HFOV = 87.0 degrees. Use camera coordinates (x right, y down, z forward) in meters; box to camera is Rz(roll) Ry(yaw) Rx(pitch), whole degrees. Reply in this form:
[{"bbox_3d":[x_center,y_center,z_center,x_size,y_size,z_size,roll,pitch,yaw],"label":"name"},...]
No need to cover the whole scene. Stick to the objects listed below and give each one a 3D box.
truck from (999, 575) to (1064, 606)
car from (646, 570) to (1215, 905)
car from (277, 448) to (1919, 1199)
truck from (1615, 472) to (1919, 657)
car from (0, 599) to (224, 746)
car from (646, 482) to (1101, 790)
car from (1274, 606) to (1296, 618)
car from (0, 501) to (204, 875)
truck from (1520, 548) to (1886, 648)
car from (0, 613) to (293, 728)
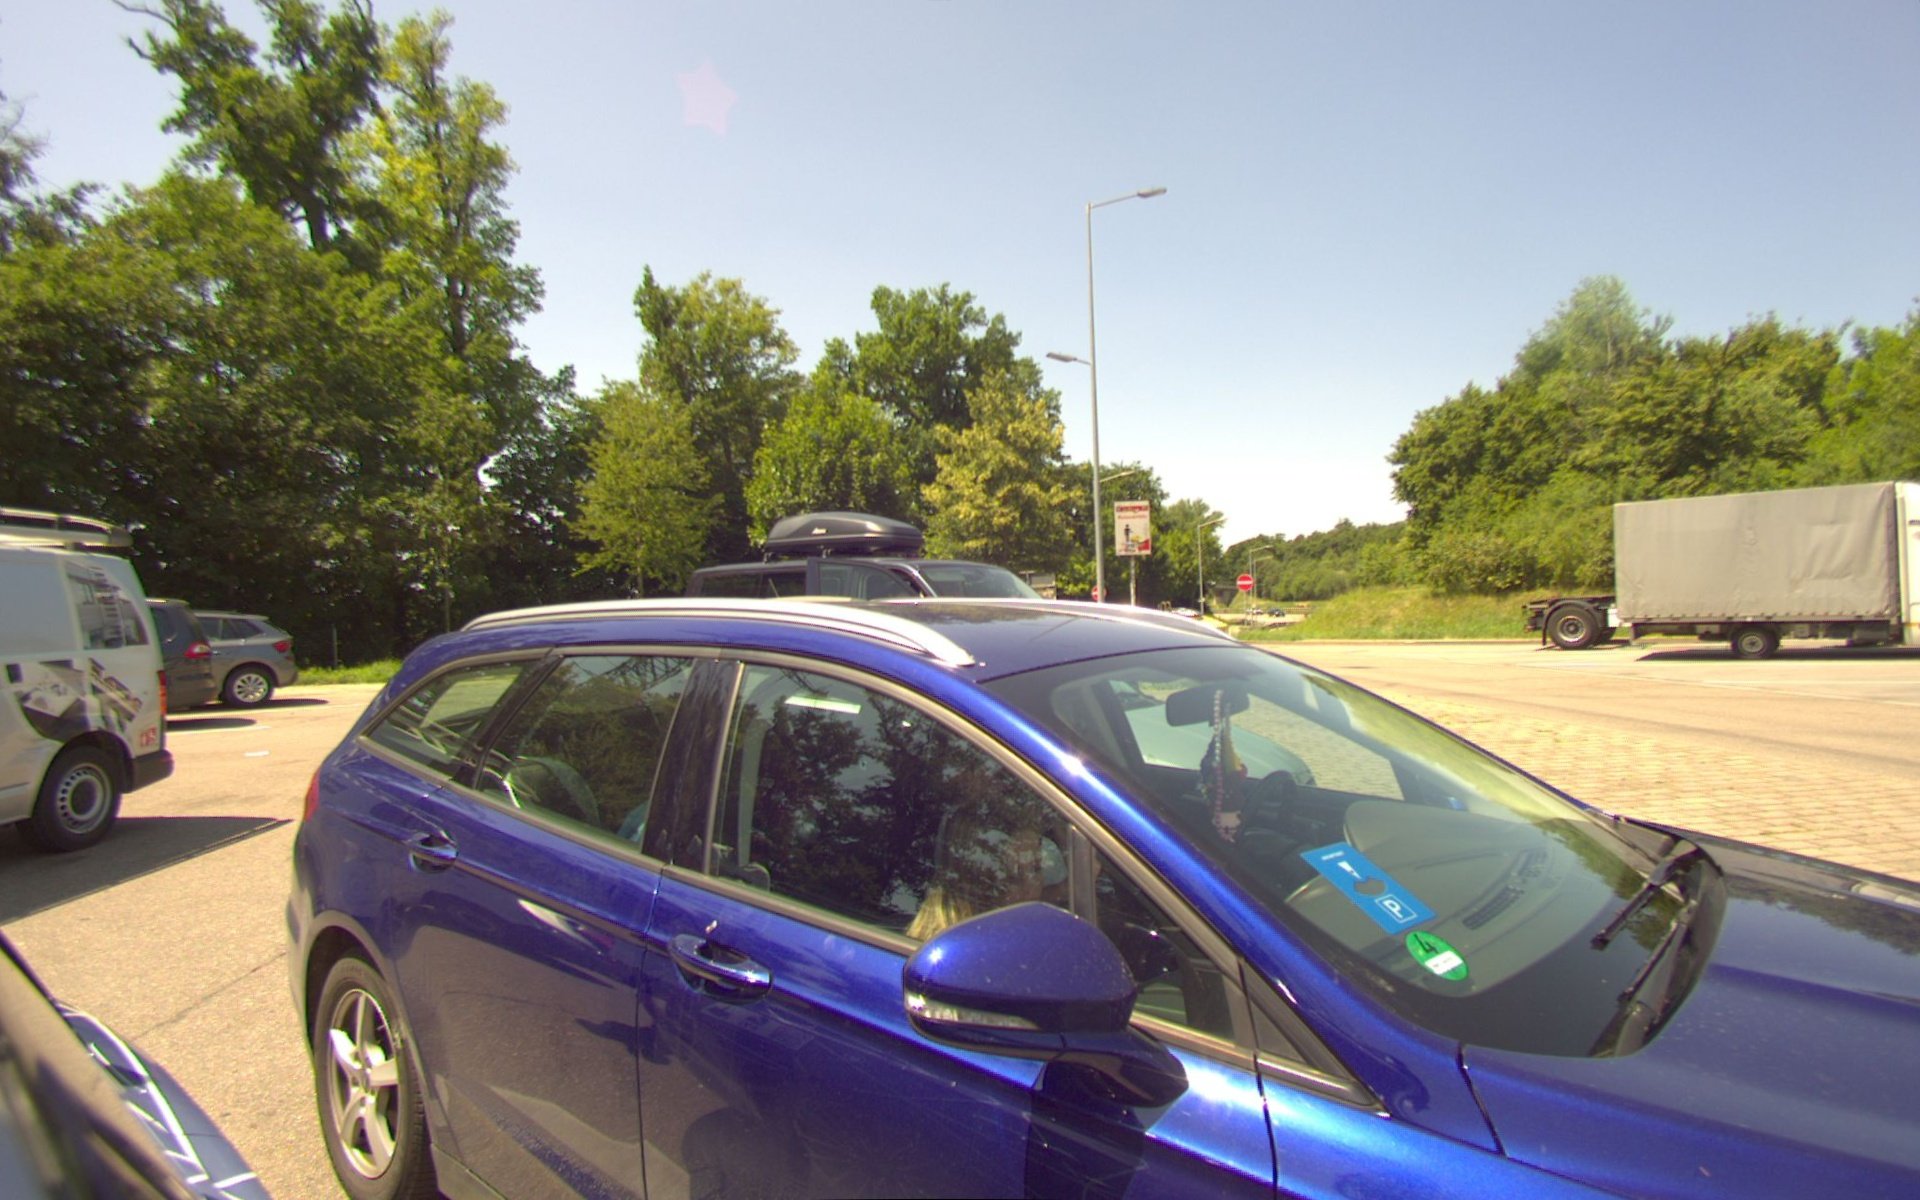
[{"bbox_3d":[3.432,-0.455,48.713,2.866,1.386,1.158,-2,-1,22],"label":"truck"},{"bbox_3d":[-0.317,0.598,5.681,3.112,1.370,1.326,-2,-1,41],"label":"car"},{"bbox_3d":[0.253,0.643,2.112,4.411,1.429,1.721,-2,-1,41],"label":"car"},{"bbox_3d":[16.623,-0.600,18.736,7.253,3.175,2.148,-2,-1,41],"label":"truck"},{"bbox_3d":[-11.650,0.861,12.600,1.755,1.701,3.798,-2,-1,45],"label":"car"},{"bbox_3d":[-0.924,0.332,9.577,4.076,2.336,1.767,-2,-1,35],"label":"car"},{"bbox_3d":[53.129,1.927,165.541,1.969,1.872,4.006,-1,0,-7],"label":"car"},{"bbox_3d":[-6.270,0.486,4.704,1.816,2.121,5.440,0,-1,-5],"label":"car"},{"bbox_3d":[16.975,0.055,23.552,6.613,2.029,1.973,-2,-1,41],"label":"truck"},{"bbox_3d":[-12.577,0.993,15.685,3.535,1.513,1.708,-1,0,-42],"label":"car"}]
